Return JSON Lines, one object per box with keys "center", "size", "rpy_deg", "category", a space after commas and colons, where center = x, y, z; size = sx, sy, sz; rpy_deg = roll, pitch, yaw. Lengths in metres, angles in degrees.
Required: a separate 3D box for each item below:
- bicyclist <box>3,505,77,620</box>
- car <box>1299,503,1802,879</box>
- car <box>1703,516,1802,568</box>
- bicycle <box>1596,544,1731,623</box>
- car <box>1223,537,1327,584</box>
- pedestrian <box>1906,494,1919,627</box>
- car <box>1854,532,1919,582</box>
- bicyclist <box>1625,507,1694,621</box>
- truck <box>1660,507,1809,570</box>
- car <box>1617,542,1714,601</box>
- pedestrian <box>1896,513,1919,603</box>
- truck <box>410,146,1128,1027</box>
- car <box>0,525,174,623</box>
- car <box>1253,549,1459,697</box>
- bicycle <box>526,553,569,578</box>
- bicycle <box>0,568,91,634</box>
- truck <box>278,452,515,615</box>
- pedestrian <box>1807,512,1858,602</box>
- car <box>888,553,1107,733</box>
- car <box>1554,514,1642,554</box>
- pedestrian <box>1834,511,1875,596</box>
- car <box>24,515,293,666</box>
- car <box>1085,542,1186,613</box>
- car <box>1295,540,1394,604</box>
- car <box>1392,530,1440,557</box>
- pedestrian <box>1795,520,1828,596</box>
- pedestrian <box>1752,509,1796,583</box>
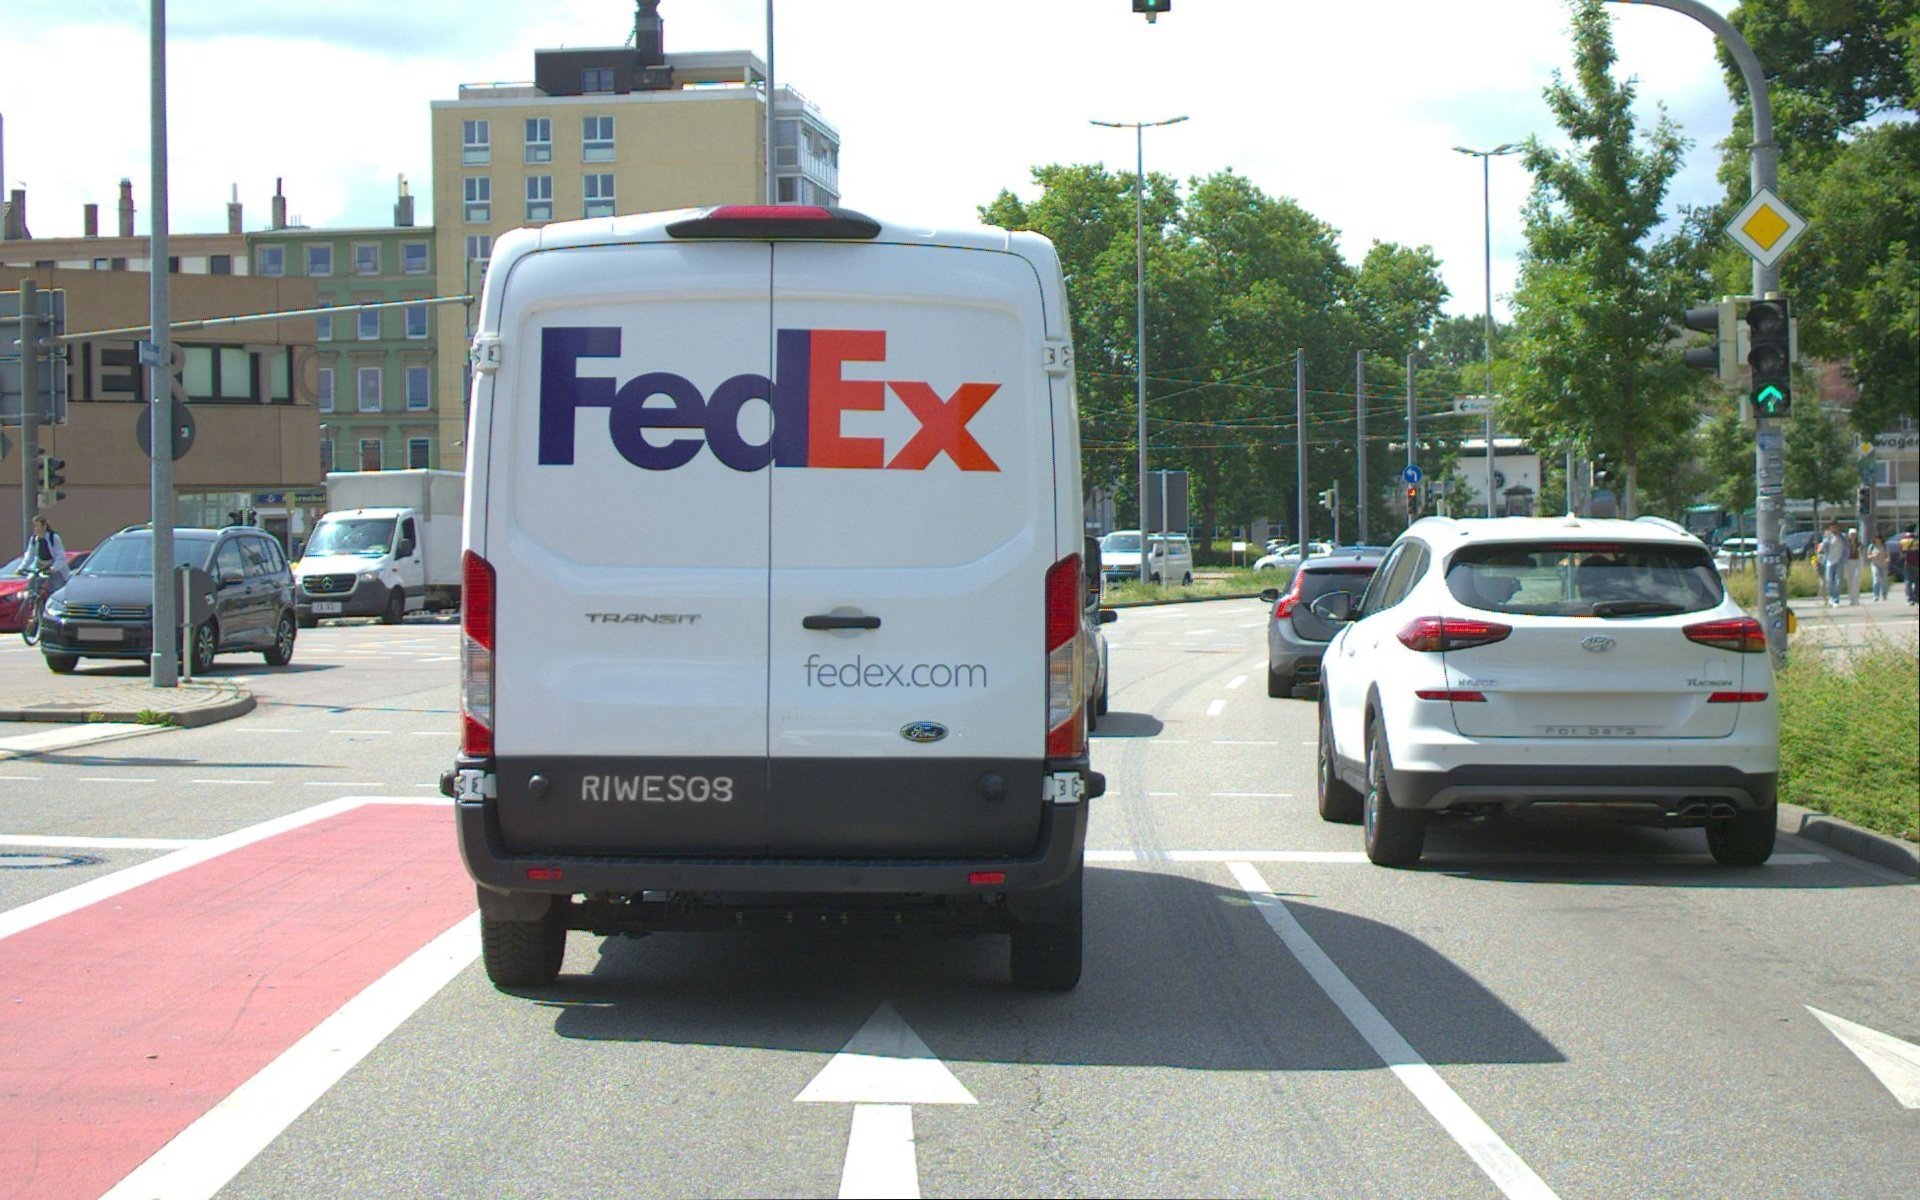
{"center": [-13.128, -0.537, 49.084], "size": [0.776, 1.613, 0.843], "rpy_deg": [-1, 1, 1], "category": "bicyclist"}
{"center": [2.809, 0.355, 17.254], "size": [1.881, 1.635, 4.233], "rpy_deg": [-1, 1, 2], "category": "car"}
{"center": [26.155, -1.928, 113.341], "size": [1.885, 1.635, 3.949], "rpy_deg": [0, 1, 34], "category": "car"}
{"center": [10.198, -0.235, 49.866], "size": [1.810, 1.046, 0.592], "rpy_deg": [-3, -1, 6], "category": "bicycle"}
{"center": [13.036, -1.636, 142.084], "size": [4.076, 1.918, 1.809], "rpy_deg": [1, 0, 12], "category": "car"}
{"center": [13.419, -0.556, 47.079], "size": [0.750, 1.796, 0.609], "rpy_deg": [-2, 1, 5], "category": "pedestrian"}
{"center": [32.343, -1.495, 118.296], "size": [1.885, 1.635, 3.949], "rpy_deg": [0, 1, 34], "category": "car"}
{"center": [10.143, -0.518, 49.873], "size": [0.828, 1.596, 0.579], "rpy_deg": [-3, -1, 6], "category": "bicyclist"}
{"center": [36.170, -2.897, 160.363], "size": [2.892, 2.842, 8.771], "rpy_deg": [0, 1, 41], "category": "truck"}
{"center": [20.638, -0.851, 100.513], "size": [1.884, 1.635, 3.952], "rpy_deg": [0, 1, 25], "category": "car"}
{"center": [19.364, -0.843, 69.521], "size": [0.756, 1.815, 0.674], "rpy_deg": [1, 0, 8], "category": "pedestrian"}
{"center": [-0.619, -0.079, 13.269], "size": [2.137, 2.631, 5.918], "rpy_deg": [0, 1, -1], "category": "truck"}
{"center": [-14.787, -0.429, 55.305], "size": [1.997, 1.481, 3.899], "rpy_deg": [0, 1, 31], "category": "car"}
{"center": [4.081, 0.201, 35.920], "size": [1.915, 1.415, 3.918], "rpy_deg": [-1, 1, 3], "category": "car"}
{"center": [-19.377, -1.625, 161.648], "size": [1.941, 1.143, 0.527], "rpy_deg": [1, 0, 12], "category": "bicycle"}
{"center": [-13.116, 0.002, 49.167], "size": [0.776, 0.886, 2.108], "rpy_deg": [-1, 1, 1], "category": "bicycle"}
{"center": [-11.084, -1.275, 68.340], "size": [1.995, 3.057, 7.326], "rpy_deg": [1, 0, 13], "category": "truck"}
{"center": [18.226, -0.899, 71.802], "size": [0.756, 1.815, 0.780], "rpy_deg": [-4, 0, 1], "category": "pedestrian"}
{"center": [0.356, 0.317, 29.656], "size": [1.741, 1.387, 4.179], "rpy_deg": [-1, 1, 2], "category": "car"}
{"center": [29.852, -3.085, 160.709], "size": [1.722, 1.794, 4.728], "rpy_deg": [-1, 1, 43], "category": "car"}
{"center": [19.189, -0.989, 73.770], "size": [0.756, 1.815, 0.638], "rpy_deg": [1, 0, 7], "category": "pedestrian"}
{"center": [-9.046, -0.149, 39.141], "size": [1.881, 1.618, 4.155], "rpy_deg": [0, 1, 3], "category": "car"}
{"center": [5.079, -0.649, 99.144], "size": [1.995, 2.007, 4.120], "rpy_deg": [1, 0, 16], "category": "car"}
{"center": [9.445, -0.711, 84.187], "size": [1.882, 1.501, 4.153], "rpy_deg": [1, 1, 14], "category": "car"}
{"center": [27.192, -3.356, 204.866], "size": [1.995, 1.568, 4.174], "rpy_deg": [1, 0, 20], "category": "car"}
{"center": [18.307, -0.901, 73.952], "size": [0.587, 1.620, 0.727], "rpy_deg": [1, 0, 7], "category": "pedestrian"}
{"center": [17.679, -1.166, 74.661], "size": [0.756, 1.584, 0.761], "rpy_deg": [1, 0, 1], "category": "pedestrian"}
